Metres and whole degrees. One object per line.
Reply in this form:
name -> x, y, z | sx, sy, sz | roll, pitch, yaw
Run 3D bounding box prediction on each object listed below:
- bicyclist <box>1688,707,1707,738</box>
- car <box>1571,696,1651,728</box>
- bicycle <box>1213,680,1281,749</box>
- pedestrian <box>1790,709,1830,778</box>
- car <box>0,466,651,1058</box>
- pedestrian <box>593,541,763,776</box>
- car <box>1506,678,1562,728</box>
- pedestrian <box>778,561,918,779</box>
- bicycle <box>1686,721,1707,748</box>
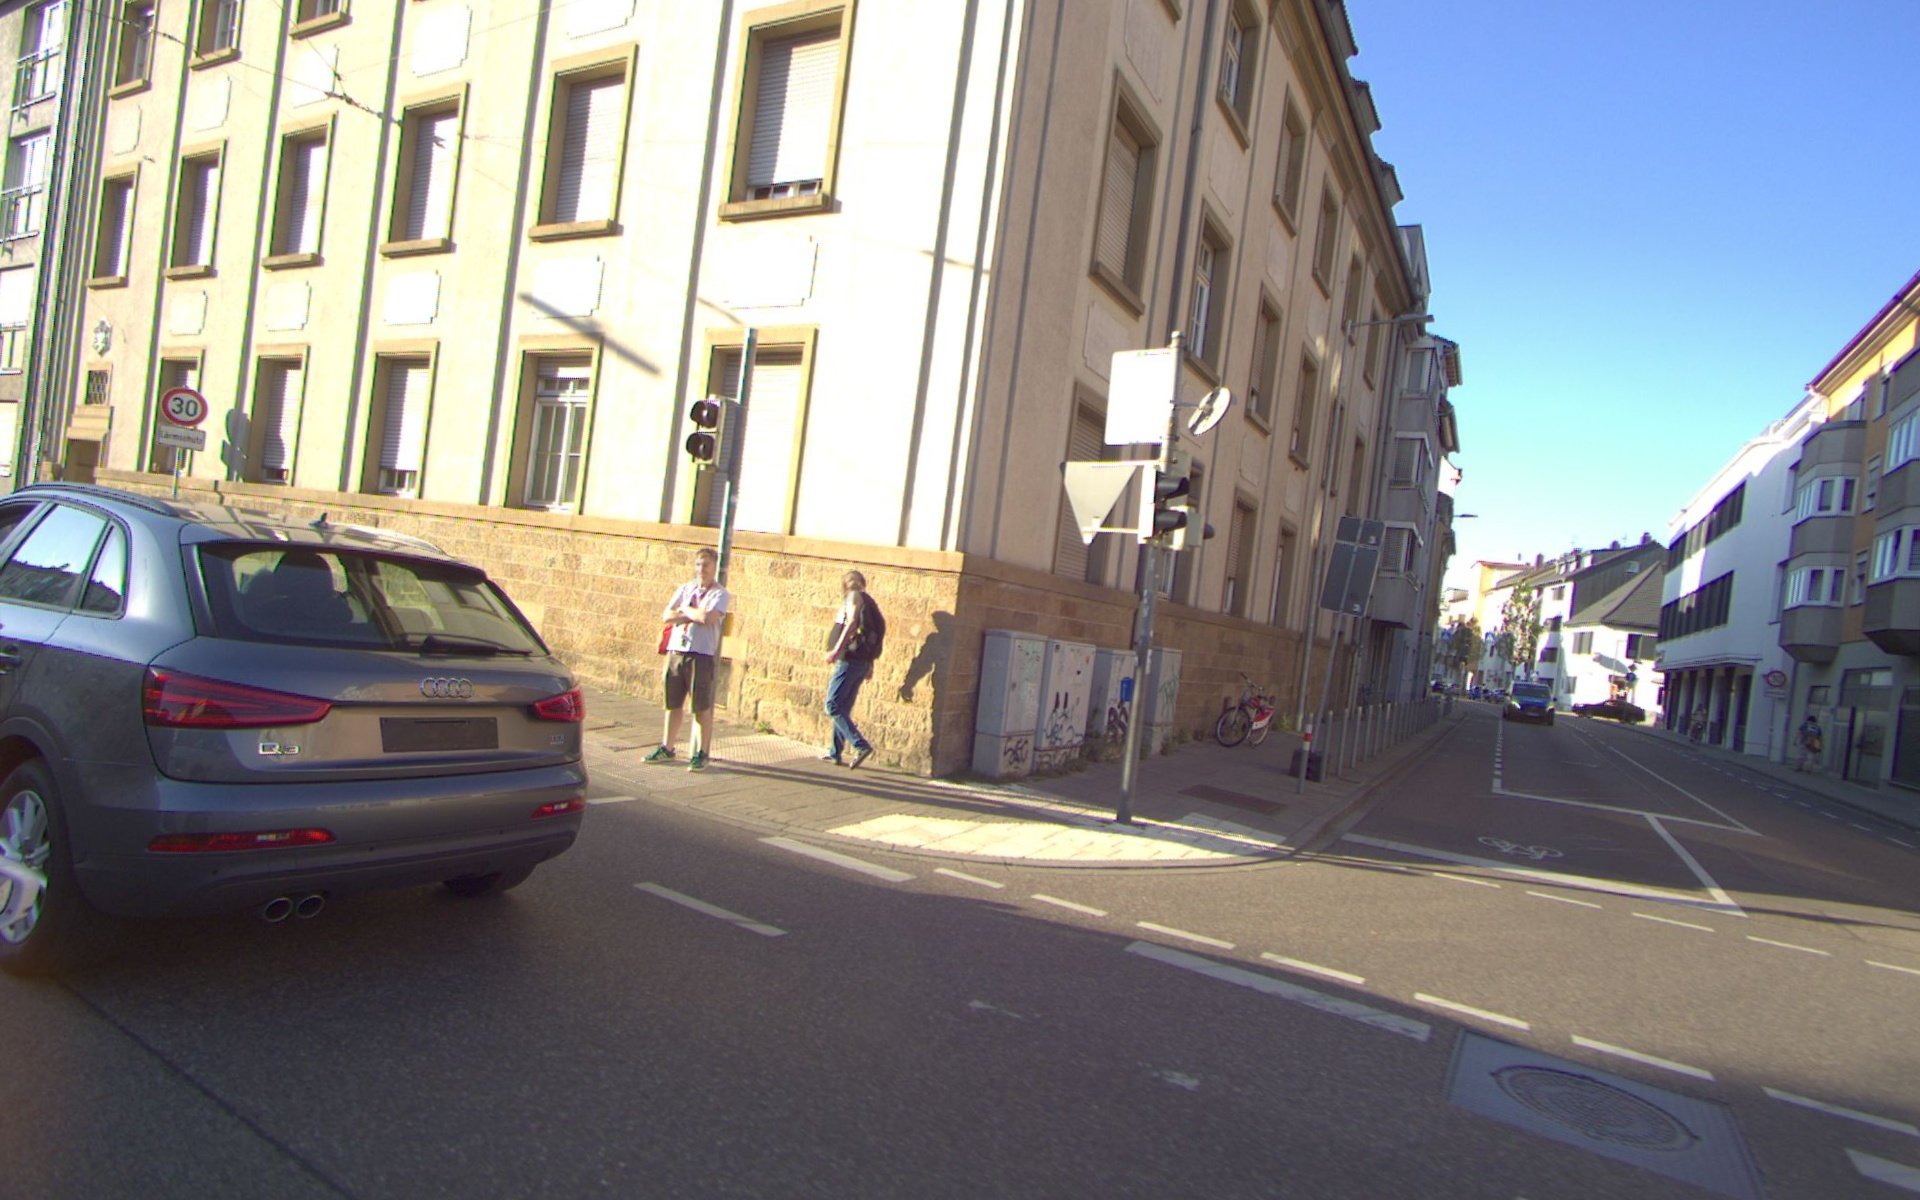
bicyclist -> 32.927, 5.465, 44.918 | 0.478, 1.310, 0.499 | 6, 0, 29
car -> 47.778, 8.176, 73.946 | 4.481, 1.675, 2.001 | 6, -2, 23
bicycle -> 4.645, 1.859, 16.233 | 1.499, 1.029, 0.246 | 9, -2, -44
pedestrian -> 25.642, 4.302, 30.343 | 0.709, 1.976, 0.685 | 4, -1, 31
car -> -3.597, 0.349, 4.480 | 4.153, 1.570, 1.702 | 6, -2, 29
pedestrian -> -2.328, 0.479, 8.367 | 0.810, 1.782, 0.837 | 6, -1, 30
car -> 27.185, 4.853, 47.763 | 1.965, 2.025, 4.481 | 6, -1, 28
pedestrian -> -0.982, 0.609, 8.885 | 0.811, 1.778, 0.630 | 6, -1, 30
bicycle -> 32.852, 5.984, 44.899 | 0.478, 1.089, 1.312 | 6, -1, 28
